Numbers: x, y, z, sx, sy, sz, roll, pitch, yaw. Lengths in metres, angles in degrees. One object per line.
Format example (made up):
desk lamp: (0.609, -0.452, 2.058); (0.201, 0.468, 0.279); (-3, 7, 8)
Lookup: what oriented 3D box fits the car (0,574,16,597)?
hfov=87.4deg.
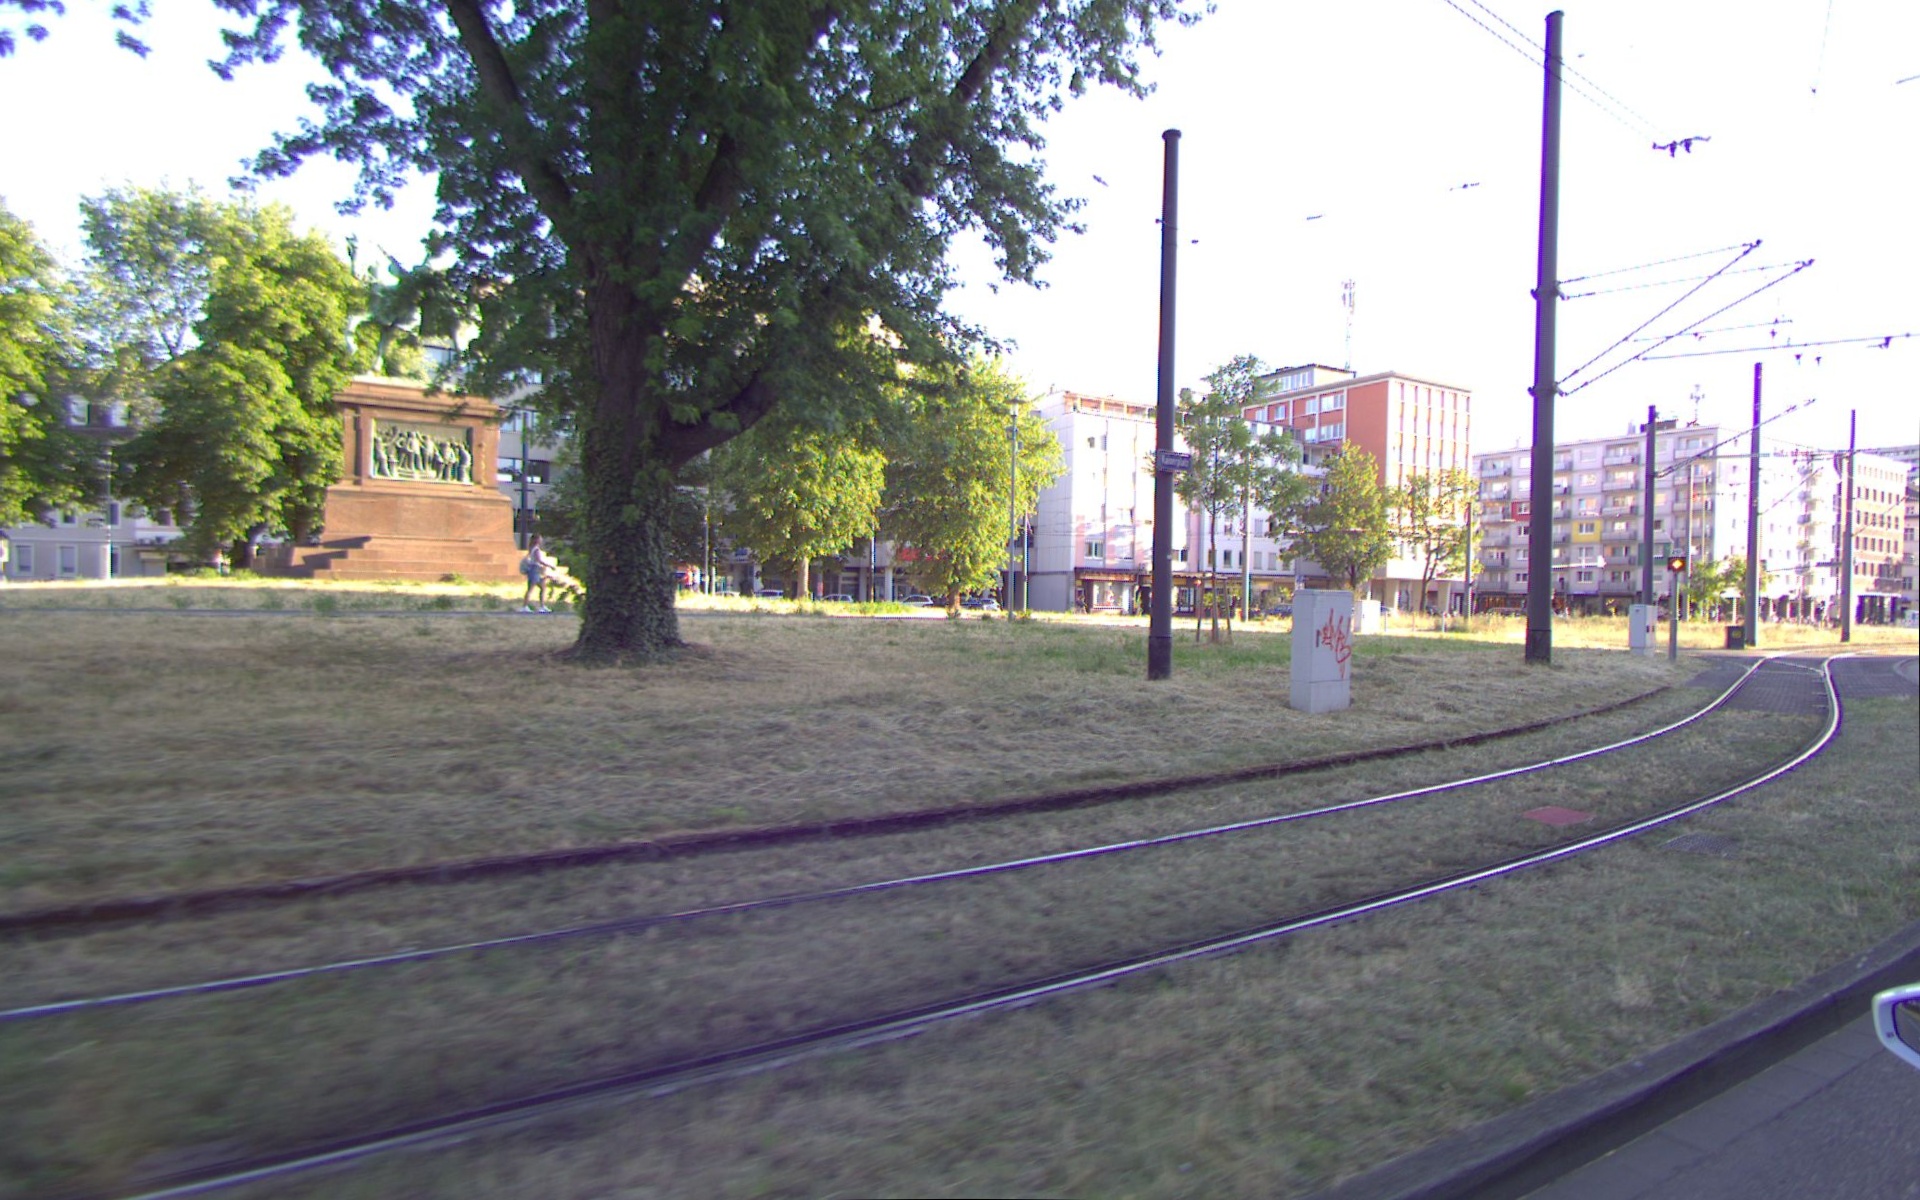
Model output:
car: (-67.998, -0.975, 69.276); (3.924, 1.601, 1.796); (0, 1, -5)

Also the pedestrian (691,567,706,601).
pedestrian: (-12.401, -0.741, 47.645); (0.546, 1.602, 0.615); (-1, 1, -29)

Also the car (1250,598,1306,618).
car: (25.619, 0.647, 80.895); (3.927, 1.547, 1.757); (0, 1, -9)

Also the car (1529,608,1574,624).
car: (63.331, 1.645, 107.562); (1.786, 1.606, 3.838); (-1, 1, -36)

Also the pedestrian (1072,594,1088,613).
pedestrian: (9.762, 0.249, 81.737); (0.844, 1.548, 1.111); (-1, 1, -33)

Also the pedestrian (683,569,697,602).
pedestrian: (-12.538, -0.656, 46.600); (0.546, 1.532, 0.450); (-1, 1, -29)

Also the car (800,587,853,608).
car: (-10.089, -0.169, 75.810); (3.926, 1.573, 1.757); (0, 1, -8)

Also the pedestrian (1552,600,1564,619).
pedestrian: (59.217, 0.950, 99.450); (0.728, 1.877, 0.701); (-1, 1, -30)

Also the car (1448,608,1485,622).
car: (63.733, 1.890, 126.495); (1.786, 1.606, 3.838); (-1, 1, -36)

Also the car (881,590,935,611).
car: (-3.984, 0.005, 76.651); (3.926, 1.573, 1.757); (0, 1, -8)

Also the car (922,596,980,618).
car: (-0.682, 0.477, 73.689); (3.993, 1.577, 1.863); (0, 1, -8)

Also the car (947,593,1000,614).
car: (1.025, 0.229, 77.213); (3.924, 1.573, 1.758); (0, 1, -5)

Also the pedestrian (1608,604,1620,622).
pedestrian: (62.250, 1.218, 95.592); (0.773, 1.692, 0.735); (-1, 1, -30)

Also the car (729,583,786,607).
car: (-15.218, -0.366, 75.654); (4.132, 1.819, 1.757); (0, 1, -8)

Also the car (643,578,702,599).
car: (-21.514, -0.864, 75.371); (3.993, 1.577, 1.863); (0, 1, -8)

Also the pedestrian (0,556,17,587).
pedestrian: (-53.382, -1.596, 56.016); (0.785, 1.724, 0.799); (0, 1, -6)

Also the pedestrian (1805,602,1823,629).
pedestrian: (58.275, 1.037, 68.537); (0.638, 1.786, 0.720); (0, 1, -10)

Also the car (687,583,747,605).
car: (-17.411, -0.431, 72.183); (3.924, 1.601, 1.796); (0, 1, -5)

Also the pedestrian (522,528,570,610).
pedestrian: (-8.928, -0.651, 21.658); (0.470, 1.712, 0.830); (1, 1, 44)
